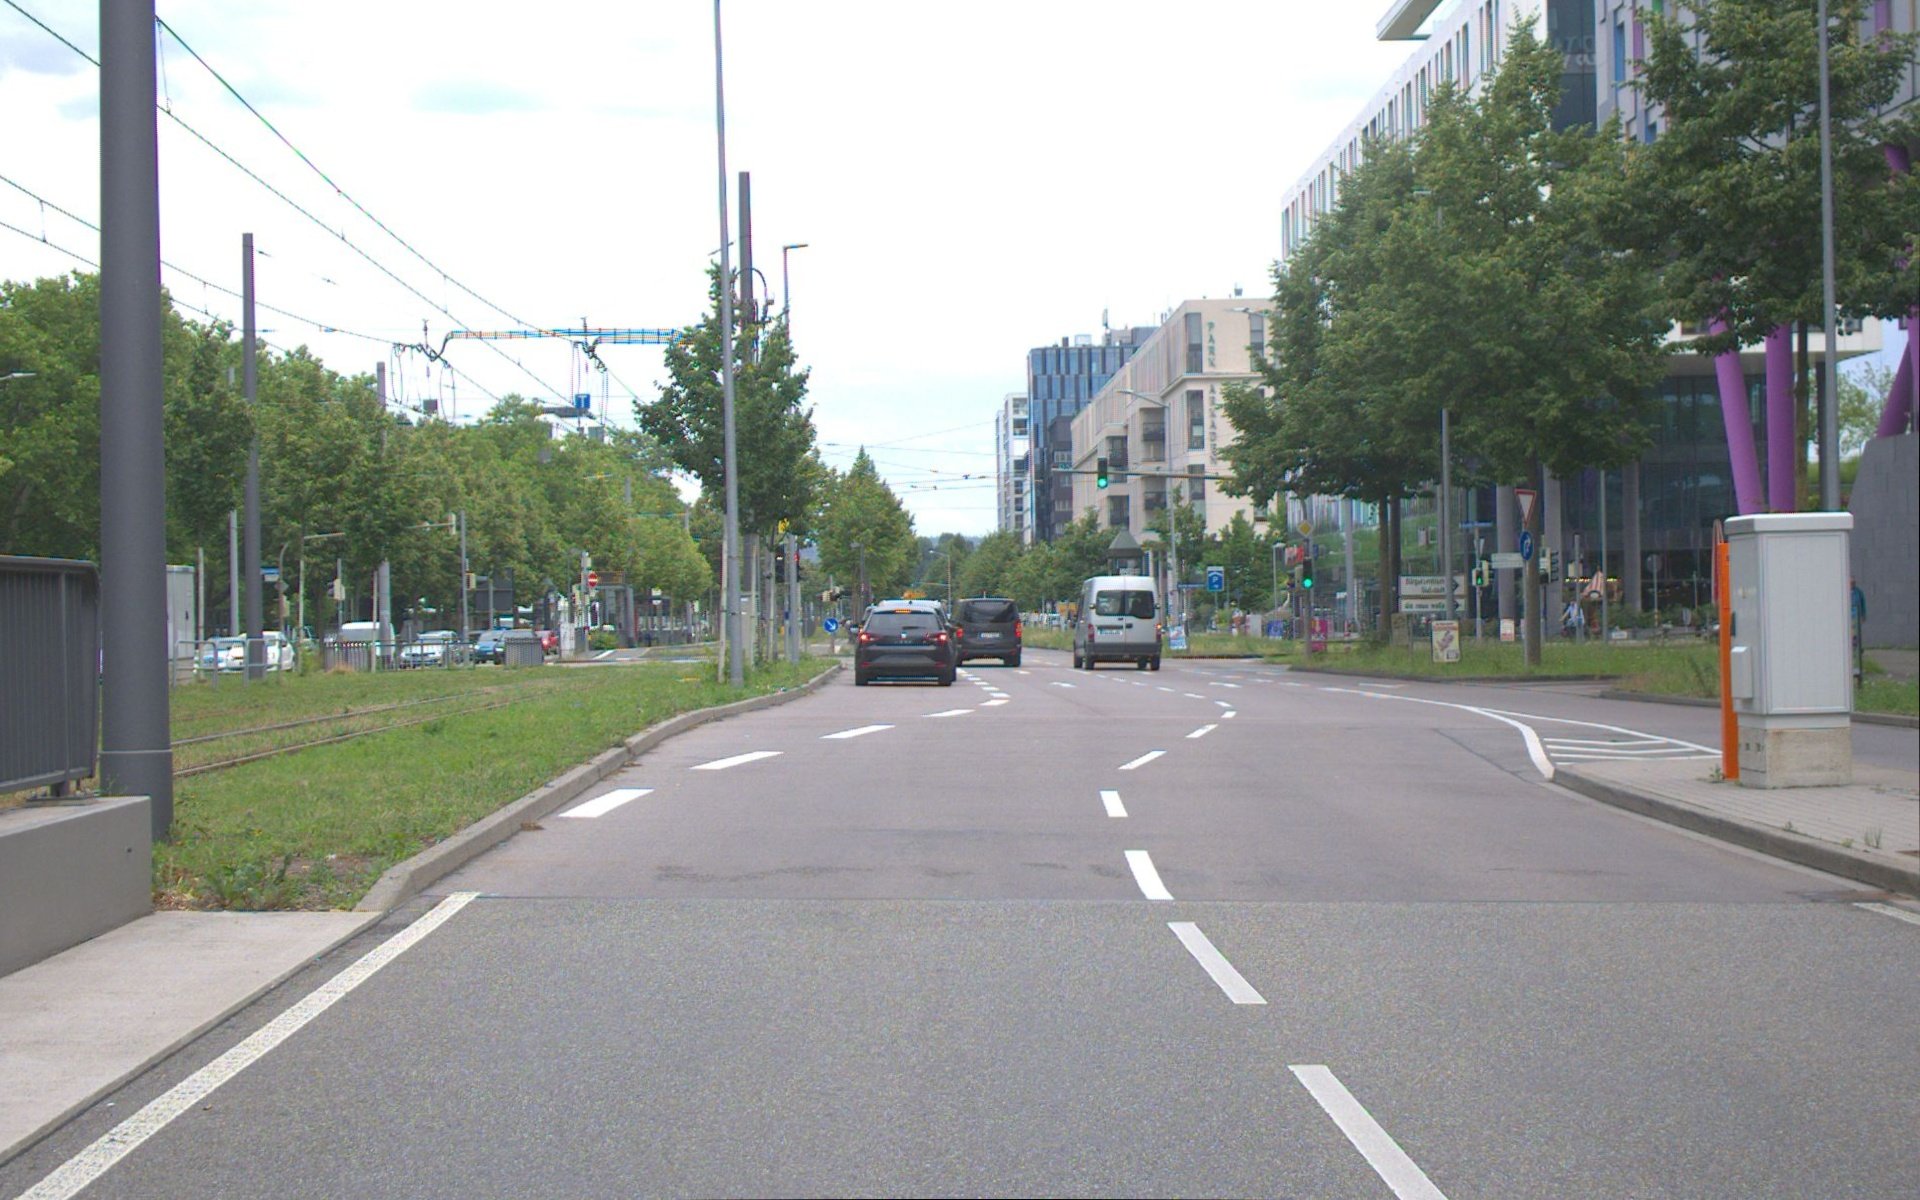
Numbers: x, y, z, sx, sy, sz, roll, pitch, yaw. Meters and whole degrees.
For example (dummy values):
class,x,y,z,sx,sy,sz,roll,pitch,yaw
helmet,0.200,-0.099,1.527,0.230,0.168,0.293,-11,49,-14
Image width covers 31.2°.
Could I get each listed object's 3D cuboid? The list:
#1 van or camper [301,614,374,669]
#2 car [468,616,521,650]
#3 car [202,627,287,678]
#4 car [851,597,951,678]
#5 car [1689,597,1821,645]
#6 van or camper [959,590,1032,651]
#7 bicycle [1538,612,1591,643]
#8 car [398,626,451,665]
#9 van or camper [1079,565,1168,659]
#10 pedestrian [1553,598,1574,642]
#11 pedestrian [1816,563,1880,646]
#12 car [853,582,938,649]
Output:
class,x,y,z,sx,sy,sz,roll,pitch,yaw
van or camper,-22.646,1.497,125.240,1.889,1.894,5.125,-2,0,-2
car,-22.144,1.564,163.588,1.964,1.583,4.689,0,0,-1
car,-22.553,1.636,108.517,1.762,1.474,4.573,-2,0,-1
car,-1.089,0.657,62.504,1.743,1.412,4.000,0,0,-2
car,28.134,0.738,121.720,4.251,1.609,1.758,-1,0,1
van or camper,0.967,0.553,96.147,1.993,1.610,4.789,0,1,0
bicycle,21.720,0.979,123.554,1.792,1.082,0.618,-1,0,1
car,-21.828,1.843,140.277,1.728,1.440,4.923,-3,0,-5
van or camper,4.309,0.290,91.487,2.109,2.348,4.923,0,2,0
pedestrian,21.699,0.720,123.557,0.614,1.599,0.618,-1,0,2
pedestrian,19.287,0.094,74.704,1.051,1.764,1.137,-1,0,0
car,-1.619,0.384,88.131,1.993,1.676,4.000,0,0,1
